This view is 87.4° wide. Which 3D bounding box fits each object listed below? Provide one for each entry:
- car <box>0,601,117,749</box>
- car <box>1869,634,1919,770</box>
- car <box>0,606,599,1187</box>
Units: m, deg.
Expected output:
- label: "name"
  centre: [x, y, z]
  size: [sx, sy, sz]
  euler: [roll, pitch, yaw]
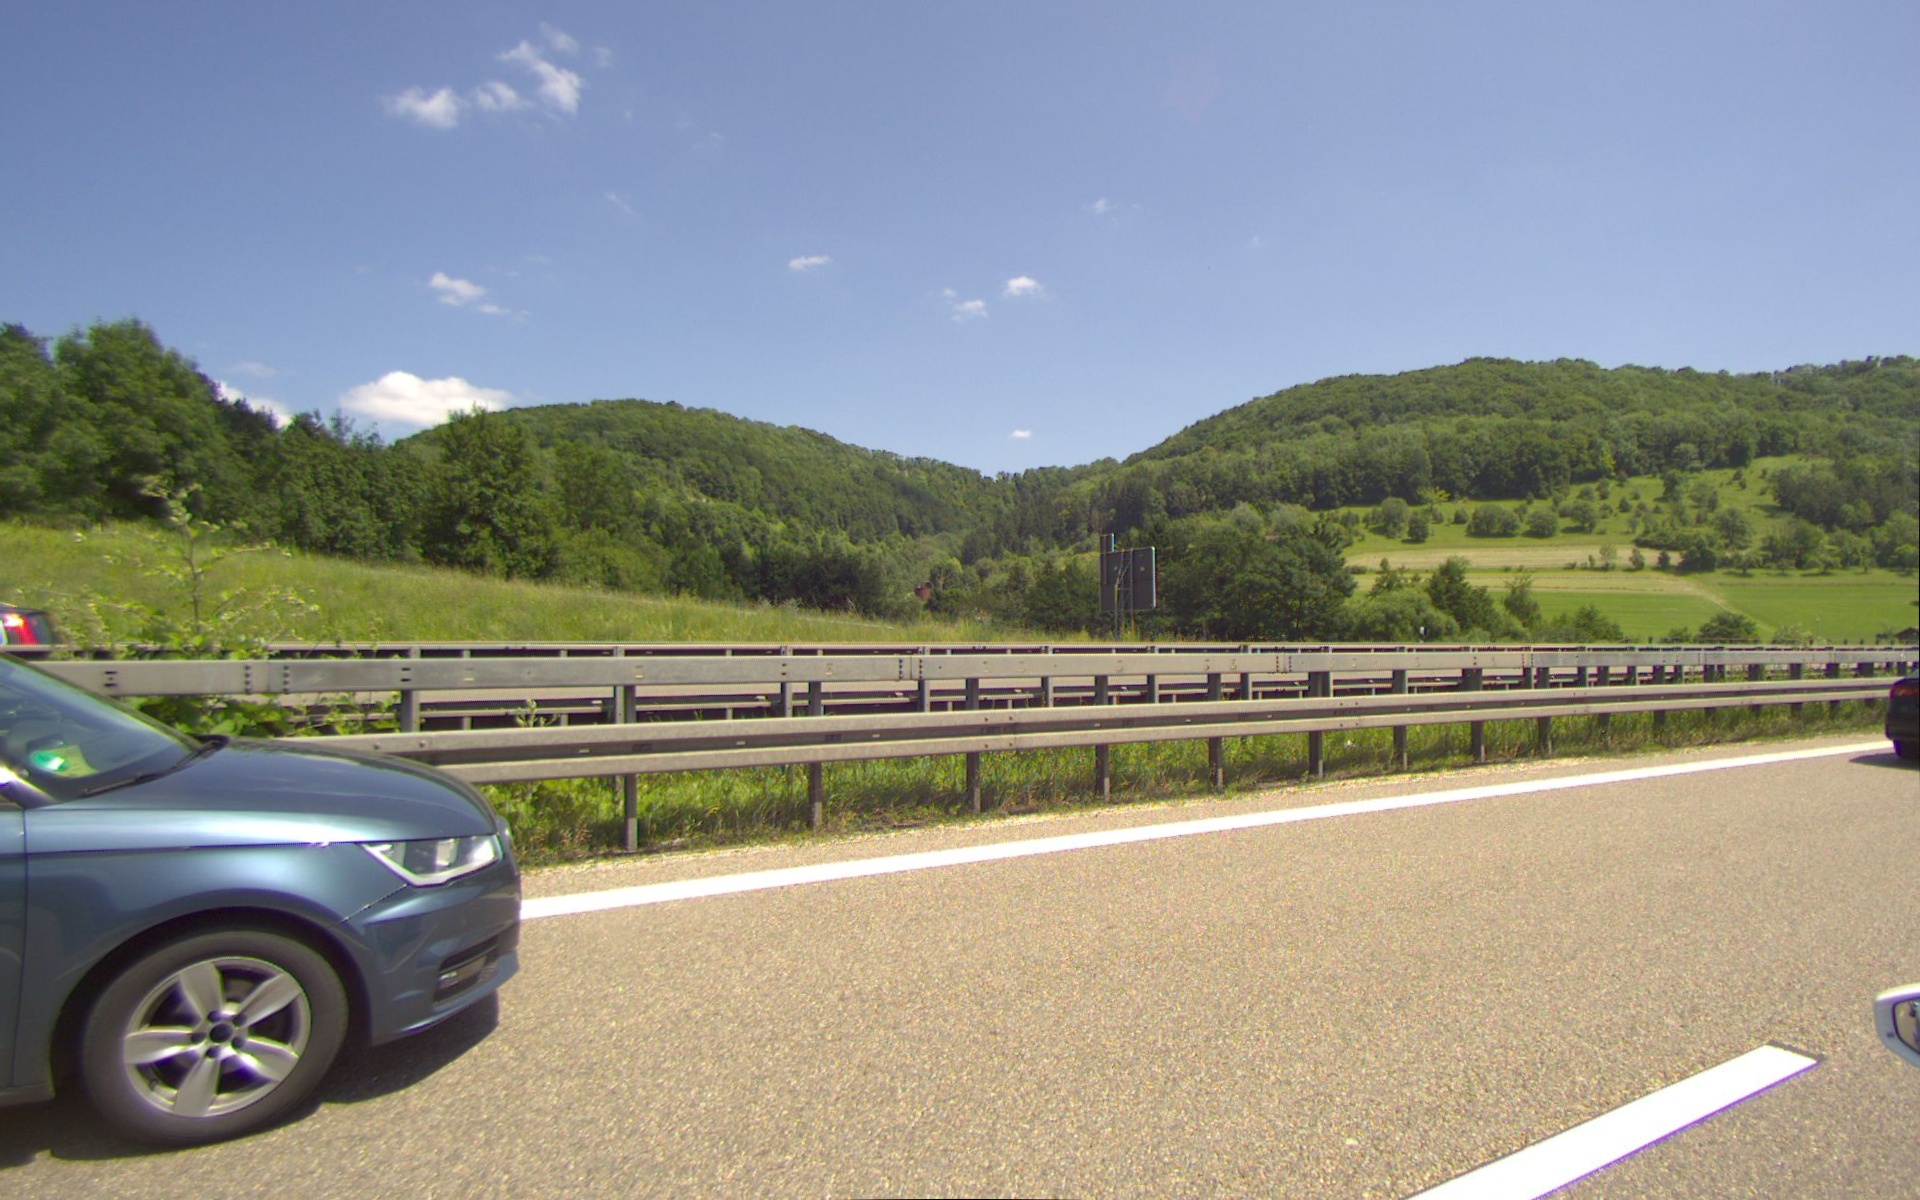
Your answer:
- label: "car"
  centre: [-11.896, 0.750, 10.446]
  size: [4.468, 1.539, 1.984]
  euler: [1, -1, -31]
- label: "car"
  centre: [12.403, 1.127, 11.384]
  size: [4.912, 1.409, 1.792]
  euler: [1, -1, -31]
- label: "car"
  centre: [-3.258, 0.715, 2.871]
  size: [3.953, 1.407, 1.680]
  euler: [1, -1, -30]
